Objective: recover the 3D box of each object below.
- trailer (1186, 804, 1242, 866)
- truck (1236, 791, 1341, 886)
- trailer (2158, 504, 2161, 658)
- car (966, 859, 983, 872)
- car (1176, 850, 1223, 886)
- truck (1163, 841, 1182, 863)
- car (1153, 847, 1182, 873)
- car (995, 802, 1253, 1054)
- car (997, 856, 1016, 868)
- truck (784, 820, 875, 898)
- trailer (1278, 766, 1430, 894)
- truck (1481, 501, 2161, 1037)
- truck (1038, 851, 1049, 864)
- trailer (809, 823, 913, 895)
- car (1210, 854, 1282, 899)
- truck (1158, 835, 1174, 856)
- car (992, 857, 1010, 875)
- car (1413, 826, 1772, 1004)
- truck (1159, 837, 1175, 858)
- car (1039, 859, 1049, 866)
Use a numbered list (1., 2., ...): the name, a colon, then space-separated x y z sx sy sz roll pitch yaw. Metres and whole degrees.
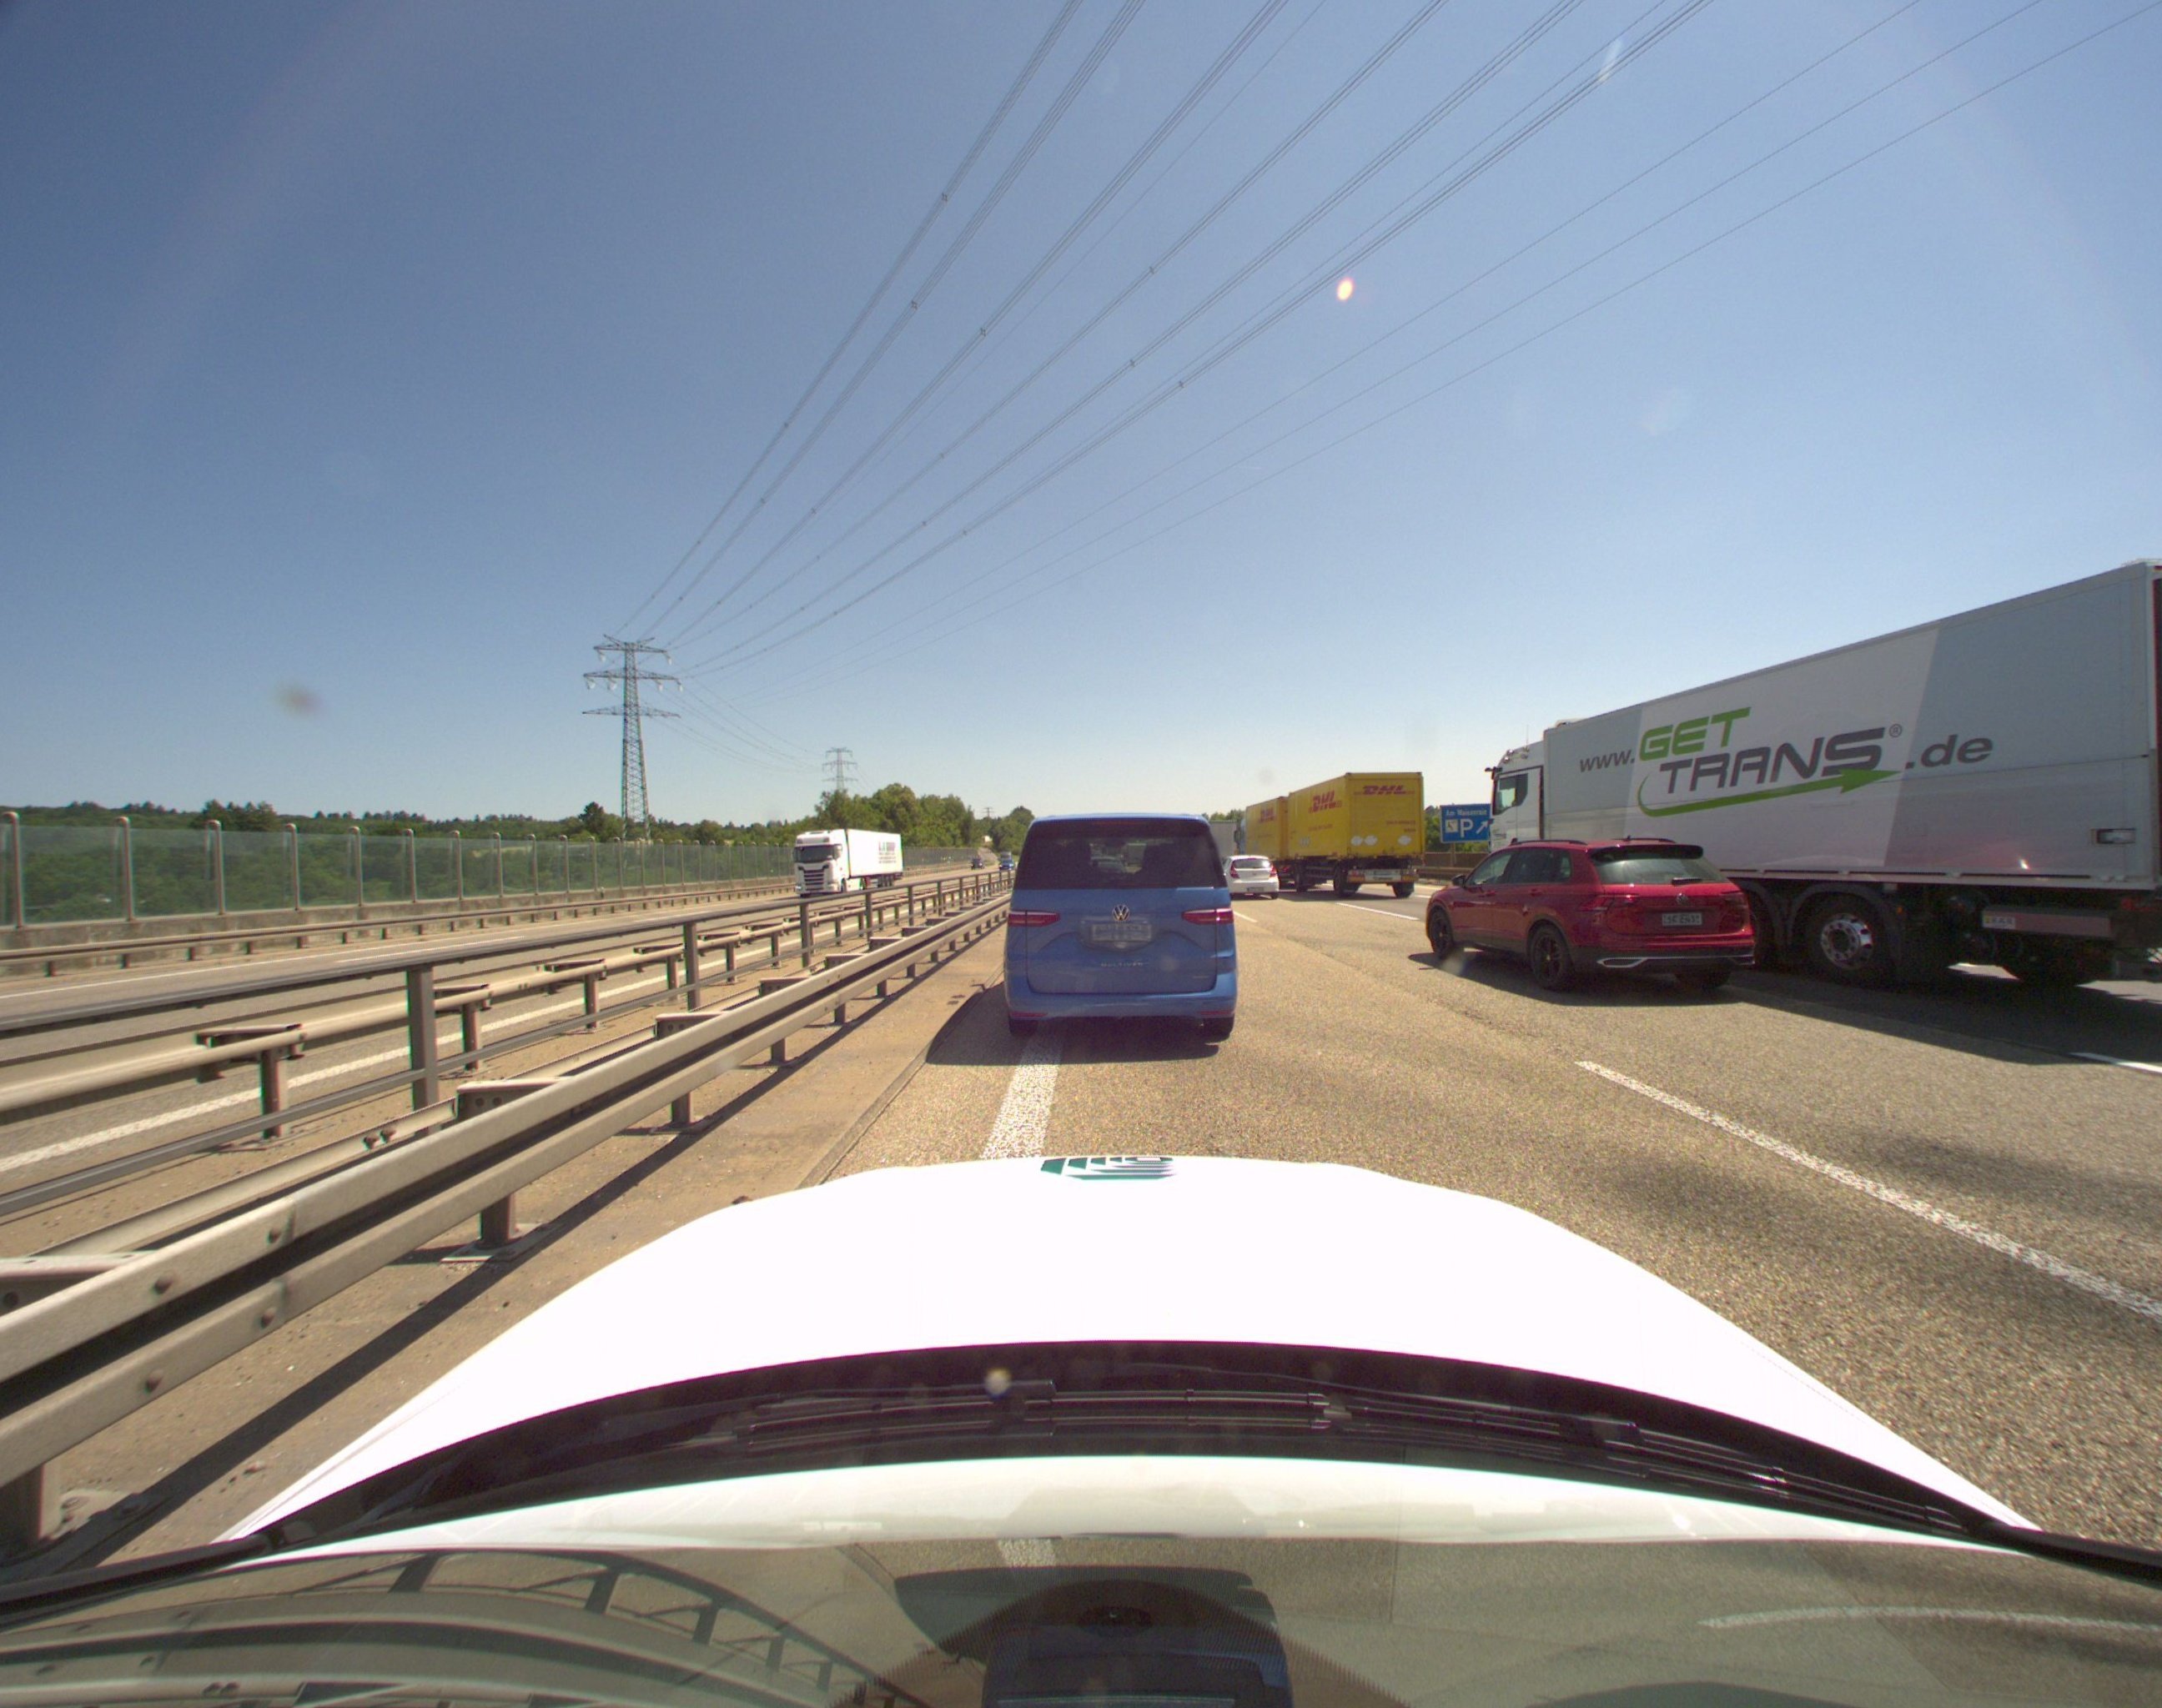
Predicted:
1. trailer: 10.513 -1.341 65.405 3.015 4.611 10.929 0 -1 2
2. truck: 9.844 -0.611 39.858 2.690 4.088 9.939 0 -1 1
3. trailer: 9.256 -0.660 1.824 2.888 3.891 8.215 0 -1 1
4. car: -17.637 1.889 135.273 1.951 1.905 4.950 -3 -1 0
5. car: 5.781 0.675 40.160 1.808 1.679 3.933 0 -1 1
6. truck: 10.414 -0.193 93.046 1.791 2.449 4.506 0 -1 2
7. car: 6.846 0.477 64.670 1.955 1.936 3.933 0 -1 1
8. car: 0.372 0.574 8.102 1.923 1.874 4.001 0 -1 1
9. car: -9.581 1.041 105.004 1.765 1.491 4.607 -2 0 2
10. truck: -15.283 0.337 50.081 2.917 4.293 6.861 -4 -1 2
11. trailer: 9.791 -0.723 30.432 2.674 4.088 8.979 0 -1 0
12. truck: 9.454 -0.575 11.239 2.841 3.934 10.611 0 -1 1
13. truck: -12.068 1.161 259.702 2.660 4.185 6.293 -2 -1 3
14. trailer: -14.997 0.405 57.041 2.895 4.307 13.667 -3 -1 2
15. car: 5.701 0.746 28.569 1.808 1.470 3.933 0 -1 1
16. truck: 11.150 -1.084 107.392 1.790 2.596 4.307 0 -1 2
17. car: -12.567 1.903 128.676 1.987 2.582 6.650 -4 -1 0
18. car: 5.808 0.612 9.992 1.703 1.679 4.284 -1 -1 0
19. truck: 10.752 -0.837 101.952 1.735 2.549 4.211 0 -1 2
20. car: -8.898 1.995 198.414 1.986 1.544 4.387 -3 -1 2
